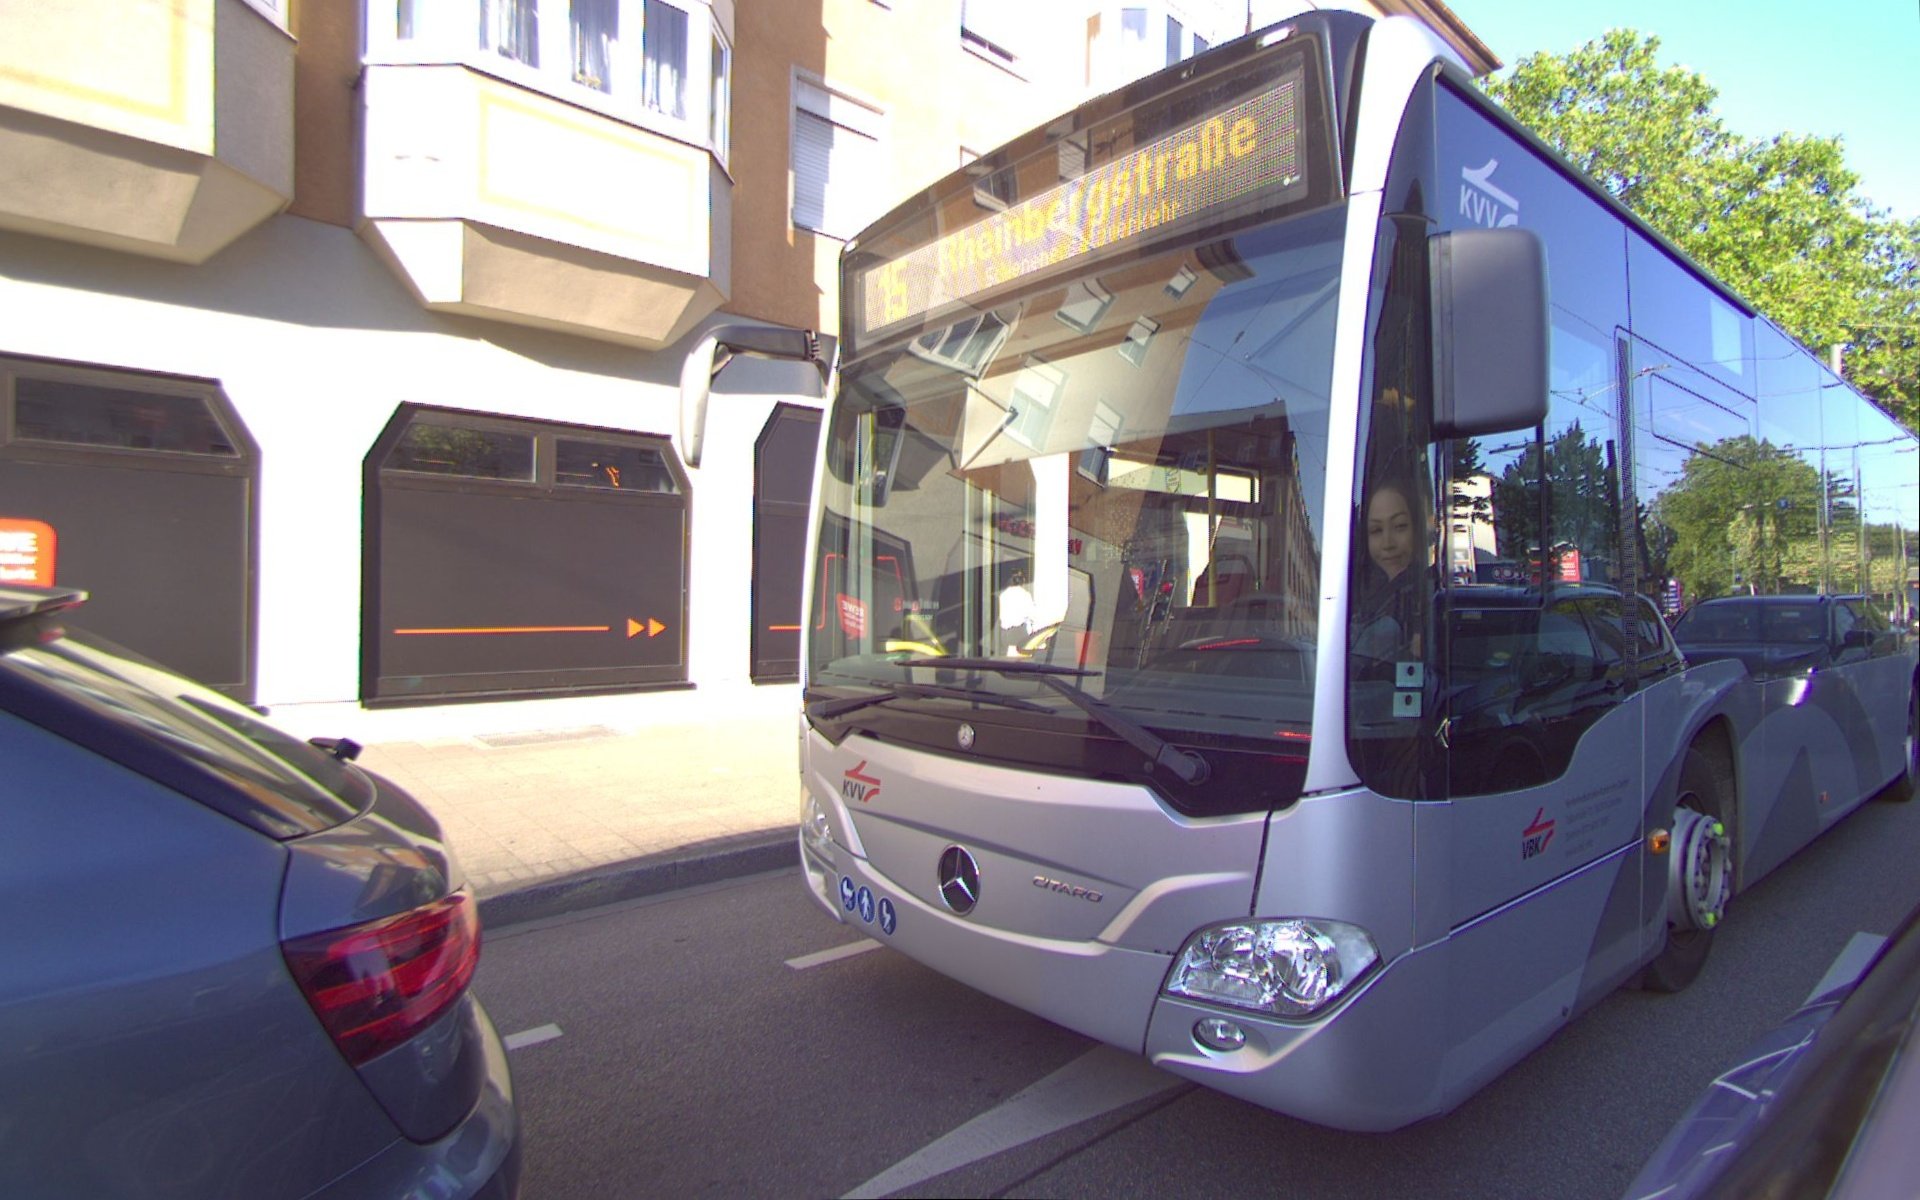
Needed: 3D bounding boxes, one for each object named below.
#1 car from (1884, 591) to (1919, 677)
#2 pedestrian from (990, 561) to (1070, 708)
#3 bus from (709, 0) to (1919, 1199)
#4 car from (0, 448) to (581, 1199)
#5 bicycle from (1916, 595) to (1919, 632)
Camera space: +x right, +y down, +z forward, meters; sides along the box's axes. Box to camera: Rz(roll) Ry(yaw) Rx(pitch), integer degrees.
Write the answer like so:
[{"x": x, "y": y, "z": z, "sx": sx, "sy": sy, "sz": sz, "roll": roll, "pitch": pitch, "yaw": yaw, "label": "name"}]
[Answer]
[{"x": 19.938, "y": 0.631, "z": 20.309, "sx": 3.759, "sy": 1.628, "sz": 1.747, "roll": -1, "pitch": 0, "yaw": -43, "label": "car"}, {"x": 0.790, "y": 0.366, "z": 11.439, "sx": 0.656, "sy": 1.603, "sz": 0.580, "roll": 0, "pitch": 1, "yaw": -40, "label": "pedestrian"}, {"x": 6.464, "y": -0.217, "z": 8.689, "sx": 17.432, "sy": 3.189, "sz": 2.771, "roll": 0, "pitch": 1, "yaw": -41, "label": "bus"}, {"x": -2.615, "y": 0.641, "z": 0.623, "sx": 4.151, "sy": 1.572, "sz": 1.700, "roll": 0, "pitch": 0, "yaw": -41, "label": "car"}, {"x": 32.342, "y": 0.446, "z": 33.095, "sx": 1.462, "sy": 1.235, "sz": 0.520, "roll": 0, "pitch": 0, "yaw": 33, "label": "bicycle"}]
